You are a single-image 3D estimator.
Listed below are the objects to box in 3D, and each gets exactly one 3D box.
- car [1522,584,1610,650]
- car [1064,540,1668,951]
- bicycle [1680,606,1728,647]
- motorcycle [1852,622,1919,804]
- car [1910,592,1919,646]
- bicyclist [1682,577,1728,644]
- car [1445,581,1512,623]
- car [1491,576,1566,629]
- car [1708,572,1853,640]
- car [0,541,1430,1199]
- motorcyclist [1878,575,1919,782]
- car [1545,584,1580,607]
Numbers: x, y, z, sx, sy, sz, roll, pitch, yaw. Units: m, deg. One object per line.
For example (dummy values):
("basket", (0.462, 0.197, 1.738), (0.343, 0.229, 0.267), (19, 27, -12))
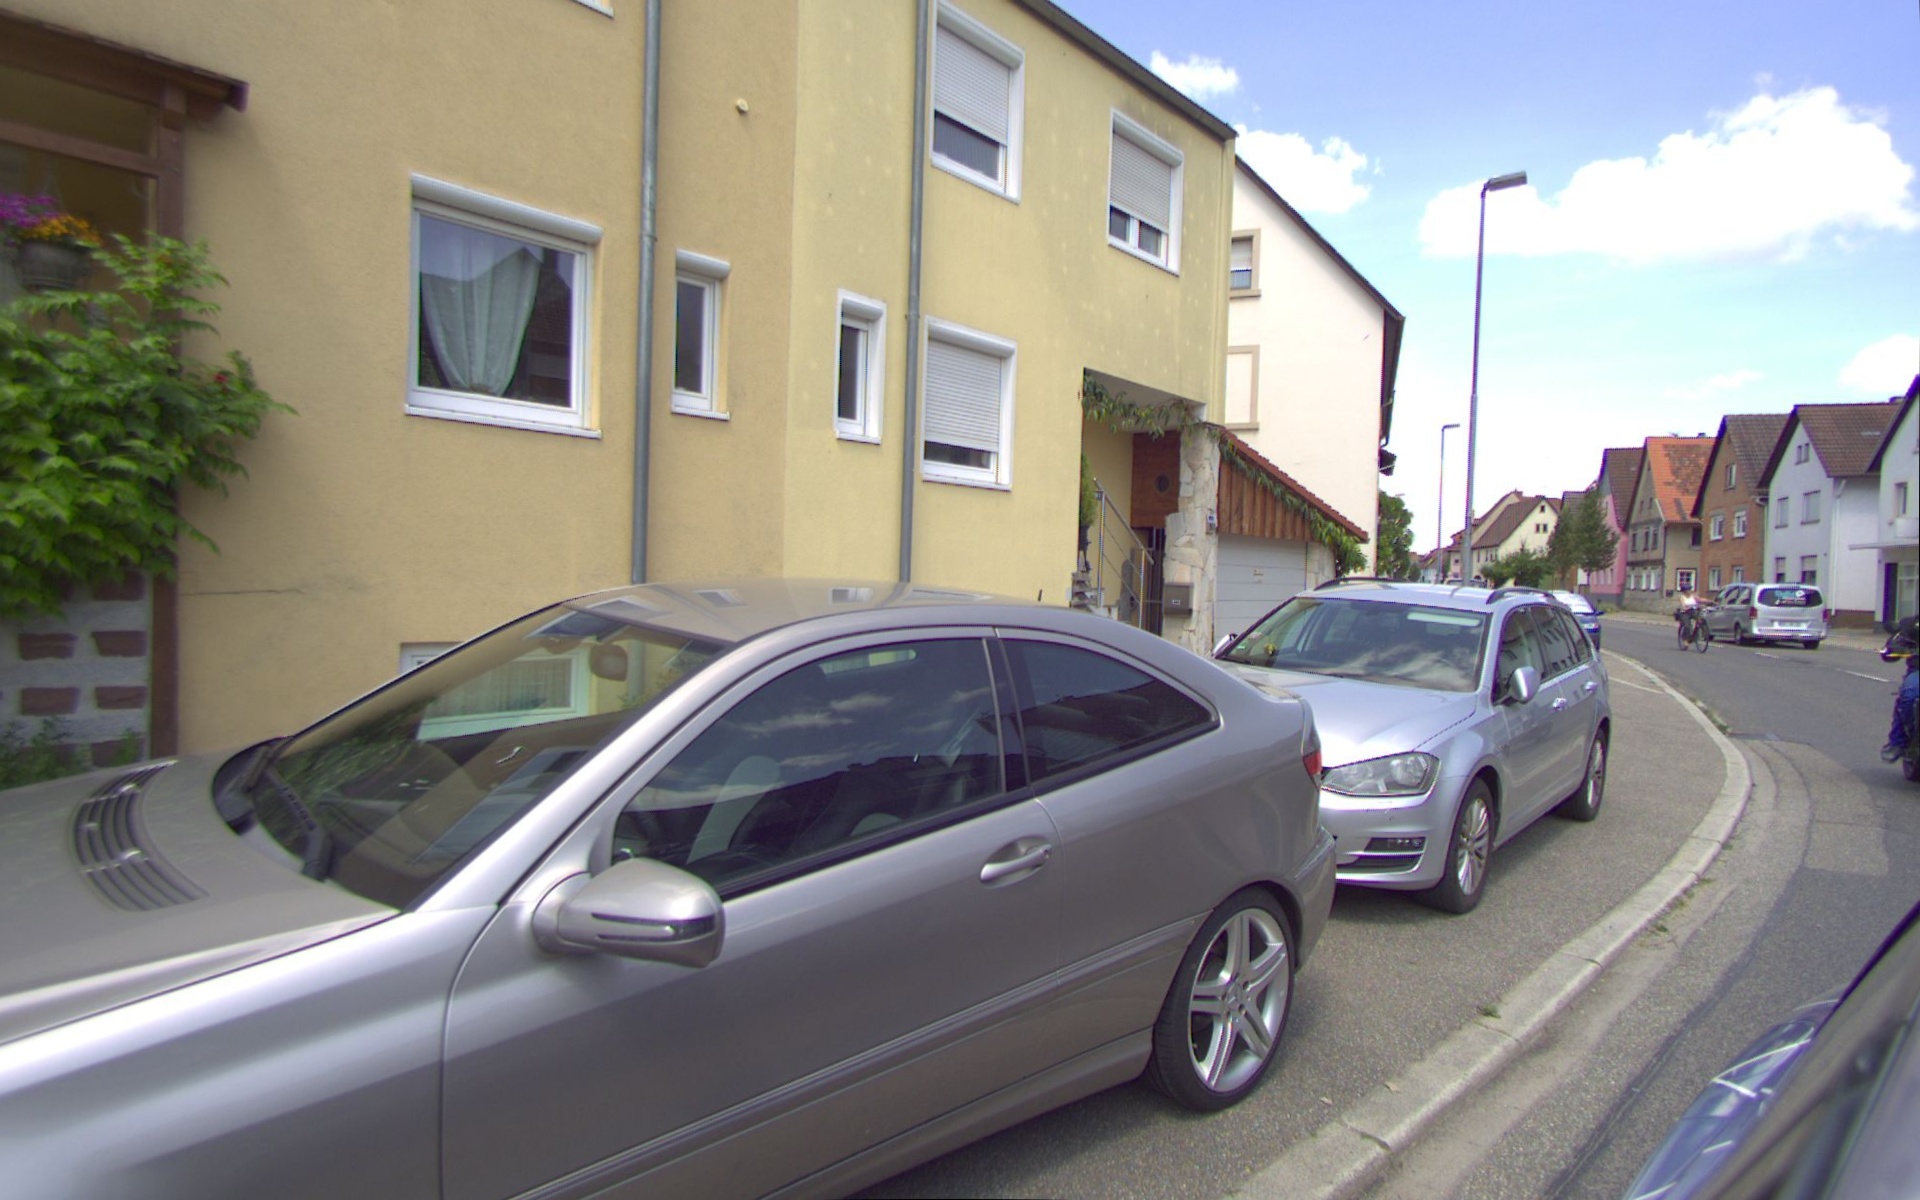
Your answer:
("car", (15.345, 0.357, 25.800), (1.713, 1.402, 3.961), (3, 3, 29))
("car", (2.724, 0.521, 6.157), (1.886, 1.548, 4.267), (6, 4, 44))
("bicycle", (19.619, 0.678, 26.662), (0.930, 1.024, 1.897), (1, 0, 39))
("motorcycle", (7.729, 0.824, 7.783), (2.065, 1.257, 0.984), (0, 0, -39))
("car", (25.589, 0.511, 24.912), (1.790, 1.438, 4.513), (0, 0, 24))
("bicyclist", (19.602, 0.252, 26.623), (0.906, 1.709, 0.750), (1, 2, 40))
("car", (21.707, 0.051, 42.502), (1.642, 1.668, 3.982), (0, 1, 14))
("car", (18.199, 0.100, 32.531), (1.755, 1.549, 3.965), (2, 0, 25))
("car", (24.296, 0.093, 30.214), (1.977, 1.822, 4.901), (0, 2, 22))
("car", (-0.775, 0.618, 2.548), (4.345, 1.416, 1.775), (-1, 5, -39))
("motorcyclist", (7.988, 0.617, 7.978), (0.785, 1.619, 1.000), (-2, 2, -39))
("car", (42.485, -0.342, 71.369), (1.666, 1.549, 3.472), (0, 2, 24))
